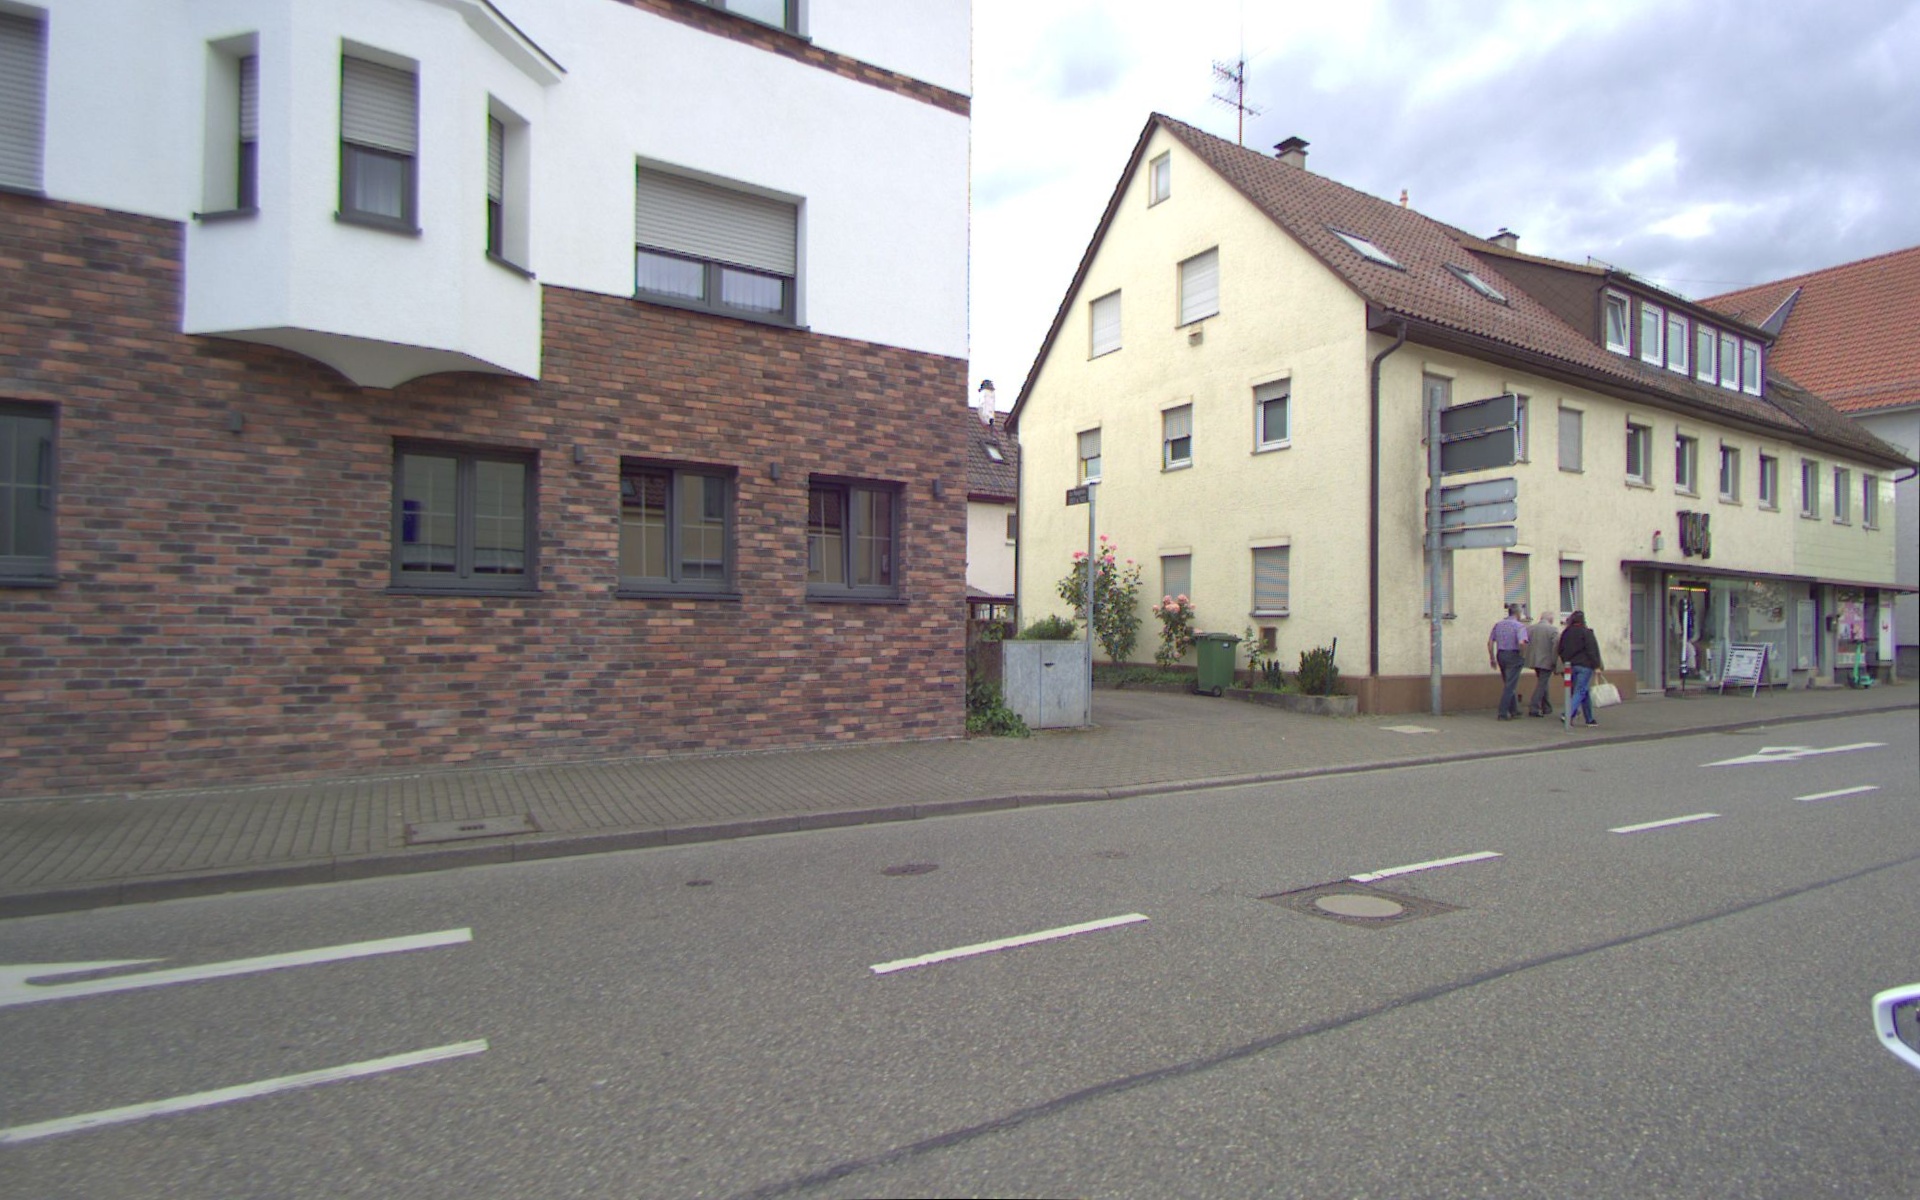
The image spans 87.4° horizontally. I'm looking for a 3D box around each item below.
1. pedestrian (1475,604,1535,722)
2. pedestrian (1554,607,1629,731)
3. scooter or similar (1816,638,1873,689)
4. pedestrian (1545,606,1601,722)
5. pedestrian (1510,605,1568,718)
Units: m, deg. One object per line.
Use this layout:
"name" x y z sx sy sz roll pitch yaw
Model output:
"pedestrian" 8.332 0.952 15.356 0.640 1.760 0.551 1 -1 -30
"pedestrian" 9.266 0.989 14.750 0.709 1.760 0.674 1 -1 -30
"scooter or similar" 21.444 1.530 24.339 1.701 1.185 0.525 1 0 -31
"pedestrian" 9.515 0.975 15.592 0.640 1.760 0.494 1 -1 -30
"pedestrian" 9.318 0.976 16.172 0.640 1.760 0.551 1 -1 -30
